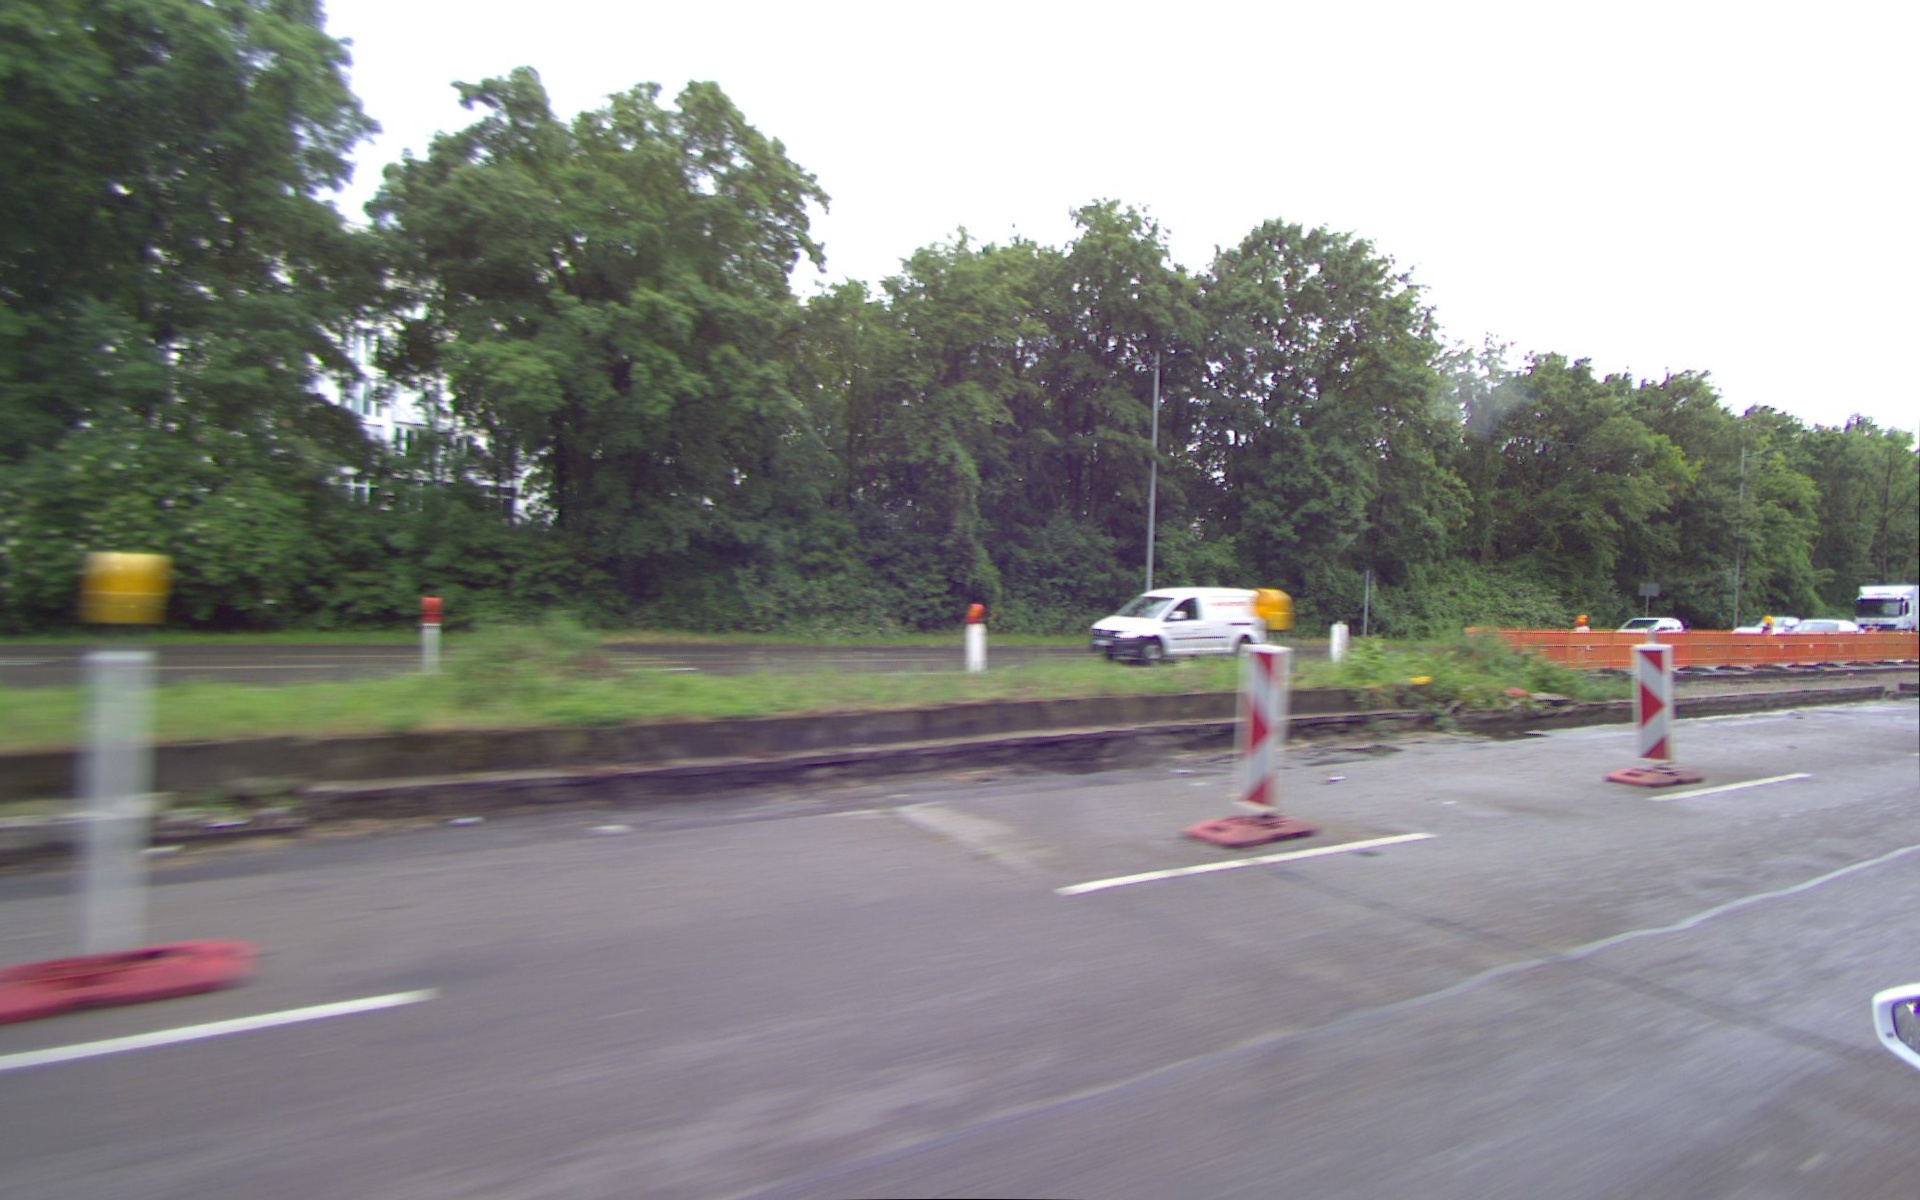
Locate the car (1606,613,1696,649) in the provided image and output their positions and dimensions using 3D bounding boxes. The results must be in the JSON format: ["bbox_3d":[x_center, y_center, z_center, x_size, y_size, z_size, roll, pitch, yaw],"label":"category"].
[{"bbox_3d":[29.693,1.316,43.127,3.852,1.444,1.781,1,0,-31],"label":"car"}]

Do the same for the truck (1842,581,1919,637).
[{"bbox_3d":[56.725,0.600,60.552,10.040,3.190,2.779,1,0,-34],"label":"truck"}]

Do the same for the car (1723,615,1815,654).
[{"bbox_3d":[34.503,1.455,42.809,3.994,1.571,1.825,1,0,-31],"label":"car"}]

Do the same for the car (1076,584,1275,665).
[{"bbox_3d":[5.306,0.550,24.561,4.779,1.805,1.903,0,1,-32],"label":"car"}]

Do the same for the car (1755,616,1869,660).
[{"bbox_3d":[31.502,1.372,37.108,4.625,1.506,1.846,1,0,-31],"label":"car"}]
